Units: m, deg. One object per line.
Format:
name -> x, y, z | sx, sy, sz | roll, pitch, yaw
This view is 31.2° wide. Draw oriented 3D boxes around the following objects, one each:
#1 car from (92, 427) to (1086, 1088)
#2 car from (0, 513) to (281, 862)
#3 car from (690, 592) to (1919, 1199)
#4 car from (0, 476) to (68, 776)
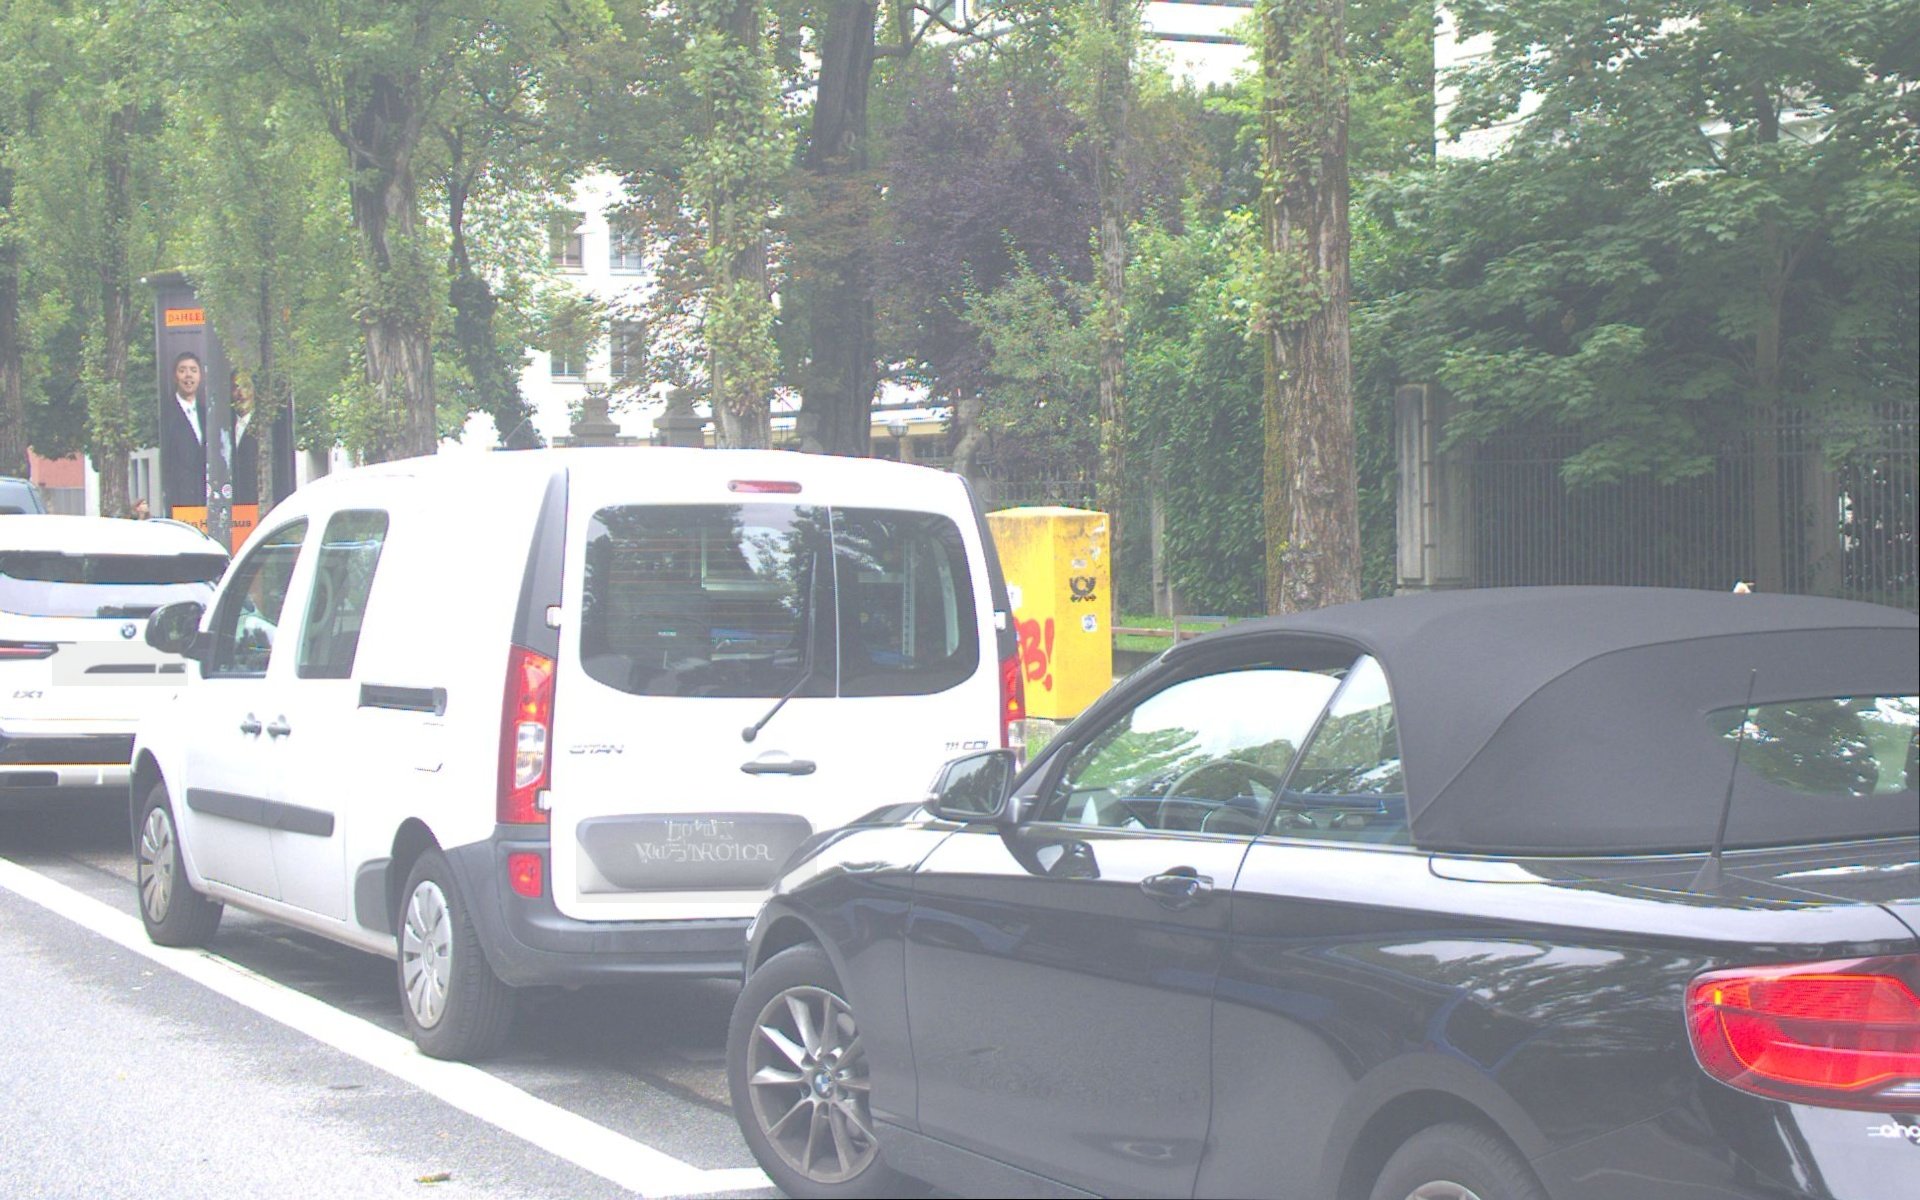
car -> -1.450, 0.396, 11.493 | 1.833, 1.767, 4.231 | 1, 1, -28
car -> -4.888, 0.355, 17.688 | 1.677, 1.590, 4.088 | 1, 1, -27
car -> 1.032, 0.707, 6.417 | 1.746, 1.349, 4.001 | -1, 1, -25
car -> -7.106, 0.109, 22.545 | 1.703, 1.829, 4.001 | 0, 1, -25
